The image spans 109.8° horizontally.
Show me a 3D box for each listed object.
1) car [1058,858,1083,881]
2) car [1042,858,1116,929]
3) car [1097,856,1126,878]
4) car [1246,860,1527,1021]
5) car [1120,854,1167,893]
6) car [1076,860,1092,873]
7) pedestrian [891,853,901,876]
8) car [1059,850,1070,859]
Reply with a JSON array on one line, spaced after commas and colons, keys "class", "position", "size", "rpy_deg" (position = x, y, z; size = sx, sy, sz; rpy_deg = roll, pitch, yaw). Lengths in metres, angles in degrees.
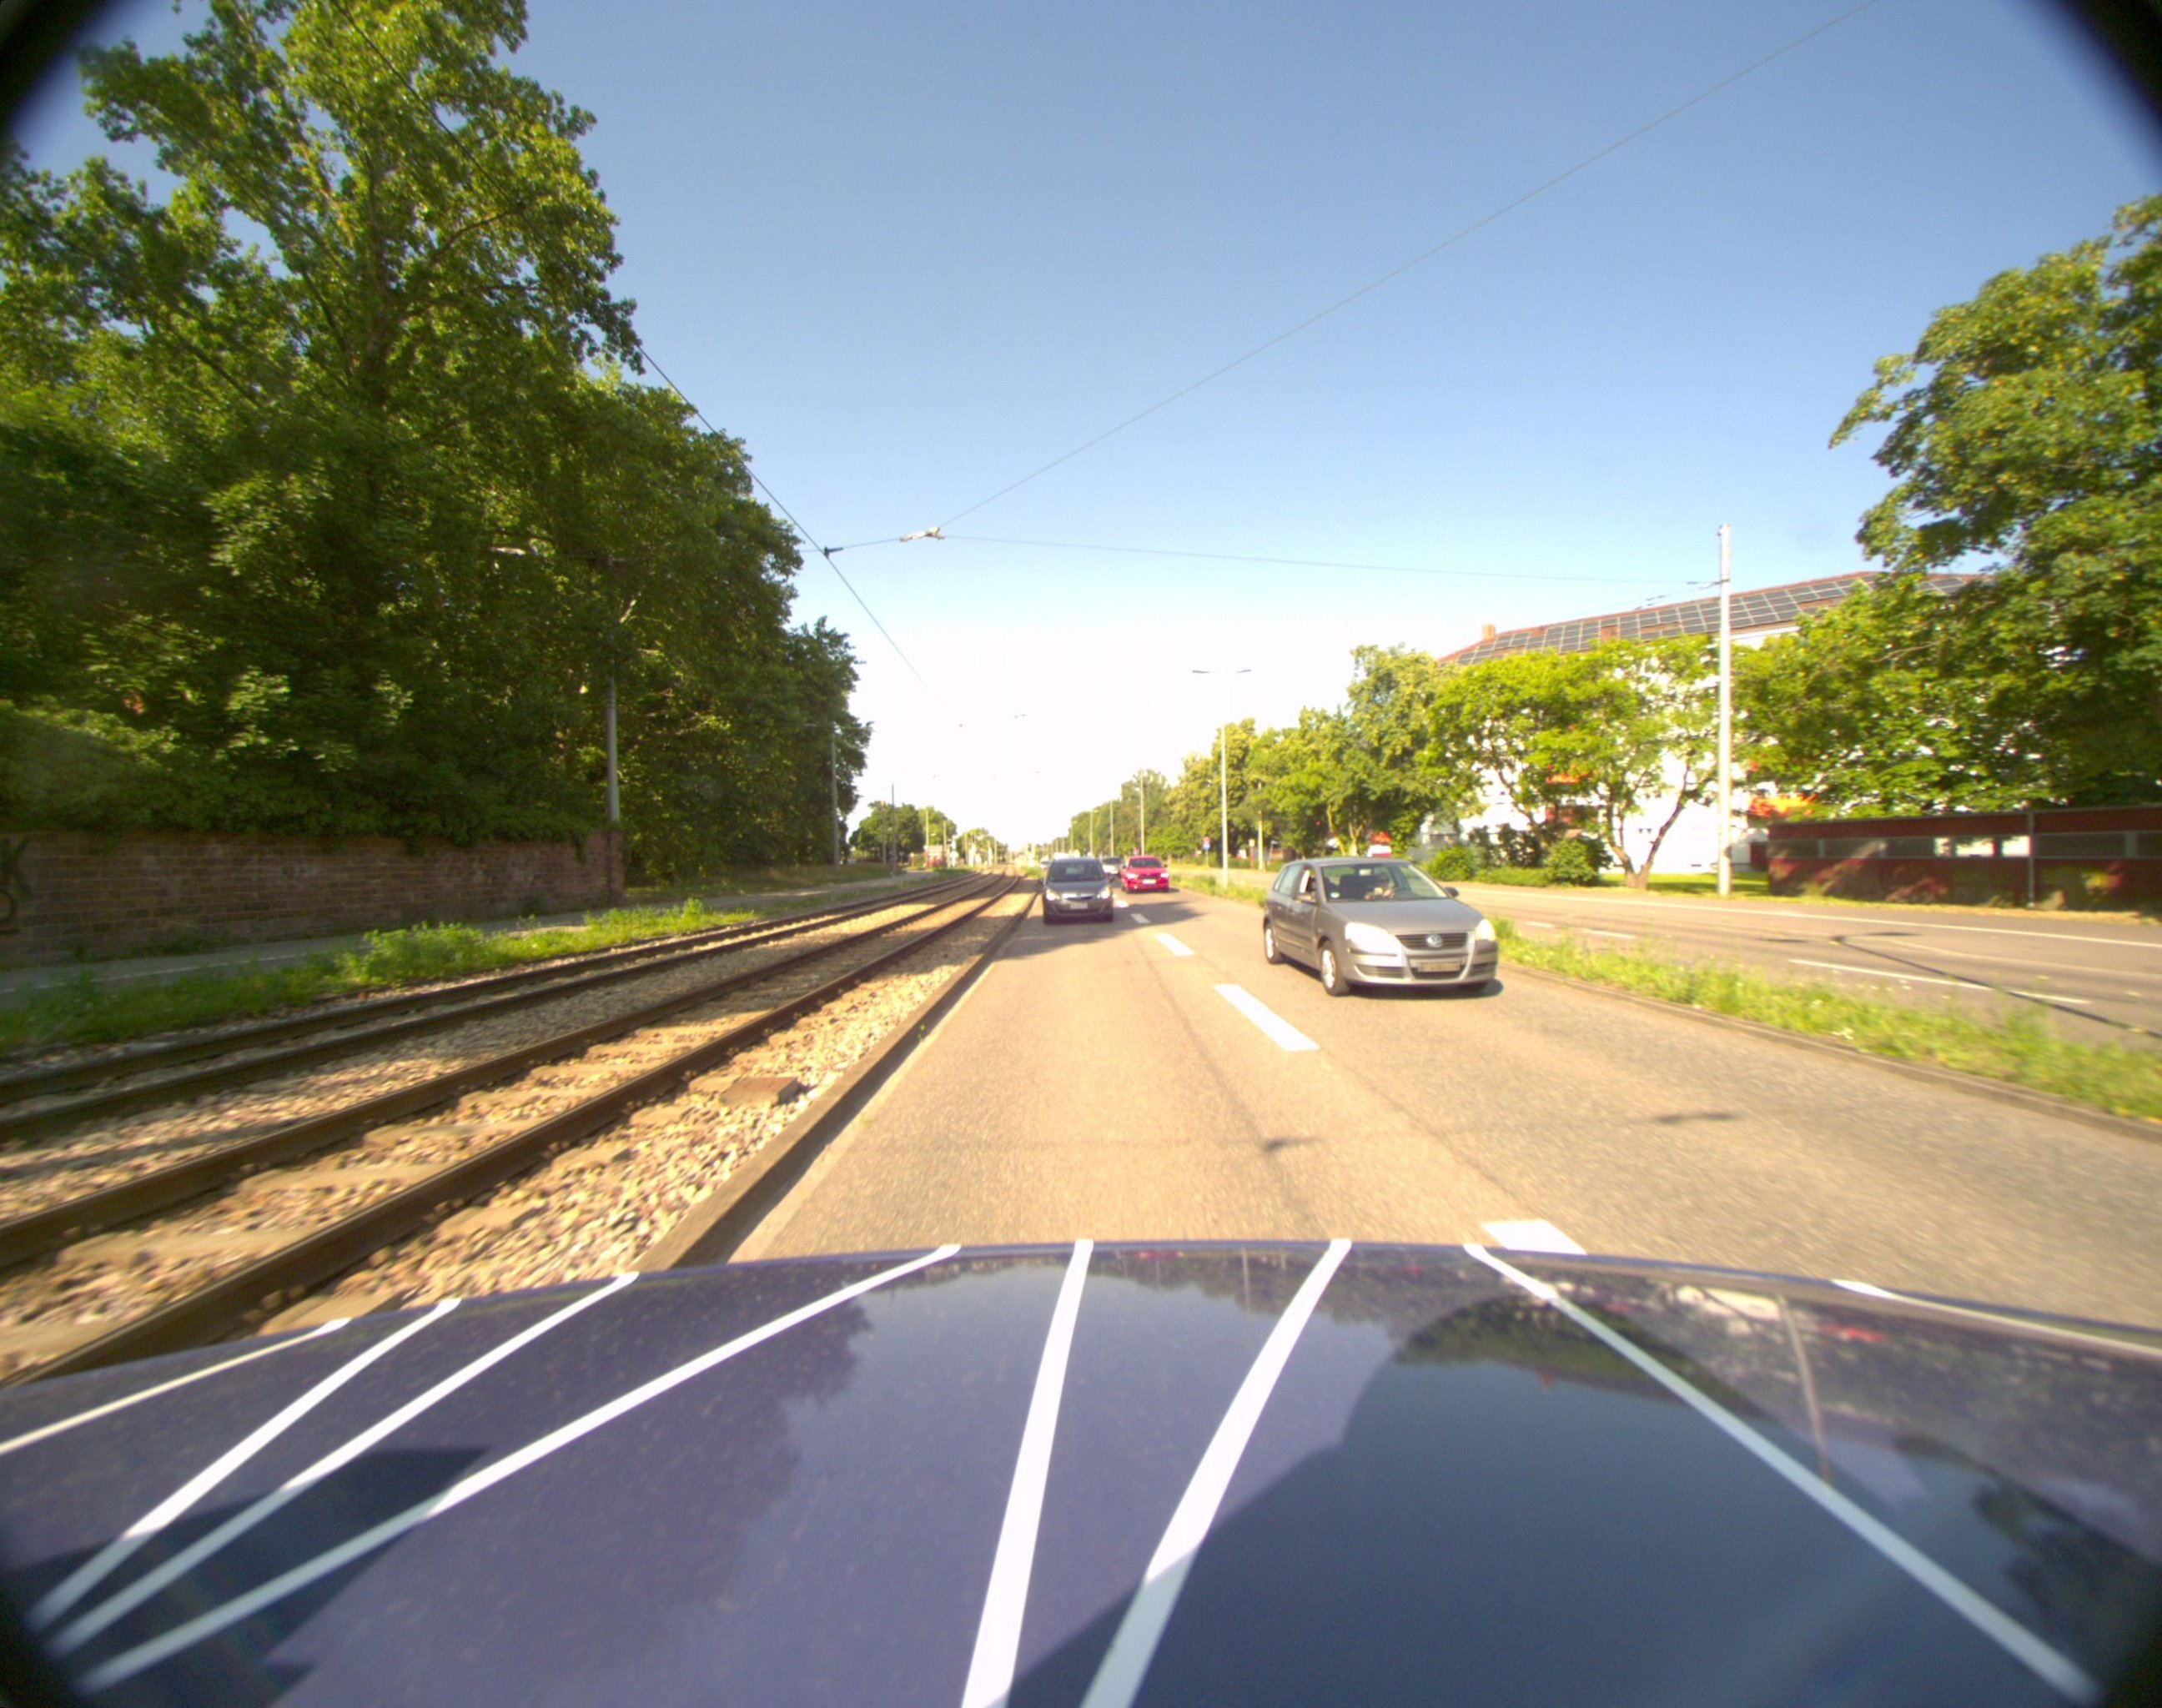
[{"class": "car", "position": [-0.791, 1.093, 55.197], "size": [1.710, 1.513, 3.832], "rpy_deg": [-2, 0, -2]}, {"class": "car", "position": [-0.098, 0.920, 19.606], "size": [1.650, 1.581, 3.832], "rpy_deg": [-2, 0, -2]}, {"class": "car", "position": [2.247, 0.976, 57.081], "size": [1.710, 1.513, 3.832], "rpy_deg": [-2, 0, -4]}, {"class": "car", "position": [3.302, 0.833, 9.080], "size": [1.693, 1.420, 3.832], "rpy_deg": [-2, 0, -2]}, {"class": "car", "position": [2.697, 0.812, 33.449], "size": [1.693, 1.573, 3.833], "rpy_deg": [-2, 0, -1]}, {"class": "car", "position": [0.349, 1.531, 94.169], "size": [1.774, 1.669, 4.048], "rpy_deg": [0, 0, -4]}, {"class": "pedestrian", "position": [-14.385, 0.812, 59.242], "size": [0.501, 1.706, 0.885], "rpy_deg": [-1, 0, 3]}, {"class": "car", "position": [-2.823, 0.153, 132.941], "size": [1.710, 1.513, 3.832], "rpy_deg": [-2, 0, -4]}]
